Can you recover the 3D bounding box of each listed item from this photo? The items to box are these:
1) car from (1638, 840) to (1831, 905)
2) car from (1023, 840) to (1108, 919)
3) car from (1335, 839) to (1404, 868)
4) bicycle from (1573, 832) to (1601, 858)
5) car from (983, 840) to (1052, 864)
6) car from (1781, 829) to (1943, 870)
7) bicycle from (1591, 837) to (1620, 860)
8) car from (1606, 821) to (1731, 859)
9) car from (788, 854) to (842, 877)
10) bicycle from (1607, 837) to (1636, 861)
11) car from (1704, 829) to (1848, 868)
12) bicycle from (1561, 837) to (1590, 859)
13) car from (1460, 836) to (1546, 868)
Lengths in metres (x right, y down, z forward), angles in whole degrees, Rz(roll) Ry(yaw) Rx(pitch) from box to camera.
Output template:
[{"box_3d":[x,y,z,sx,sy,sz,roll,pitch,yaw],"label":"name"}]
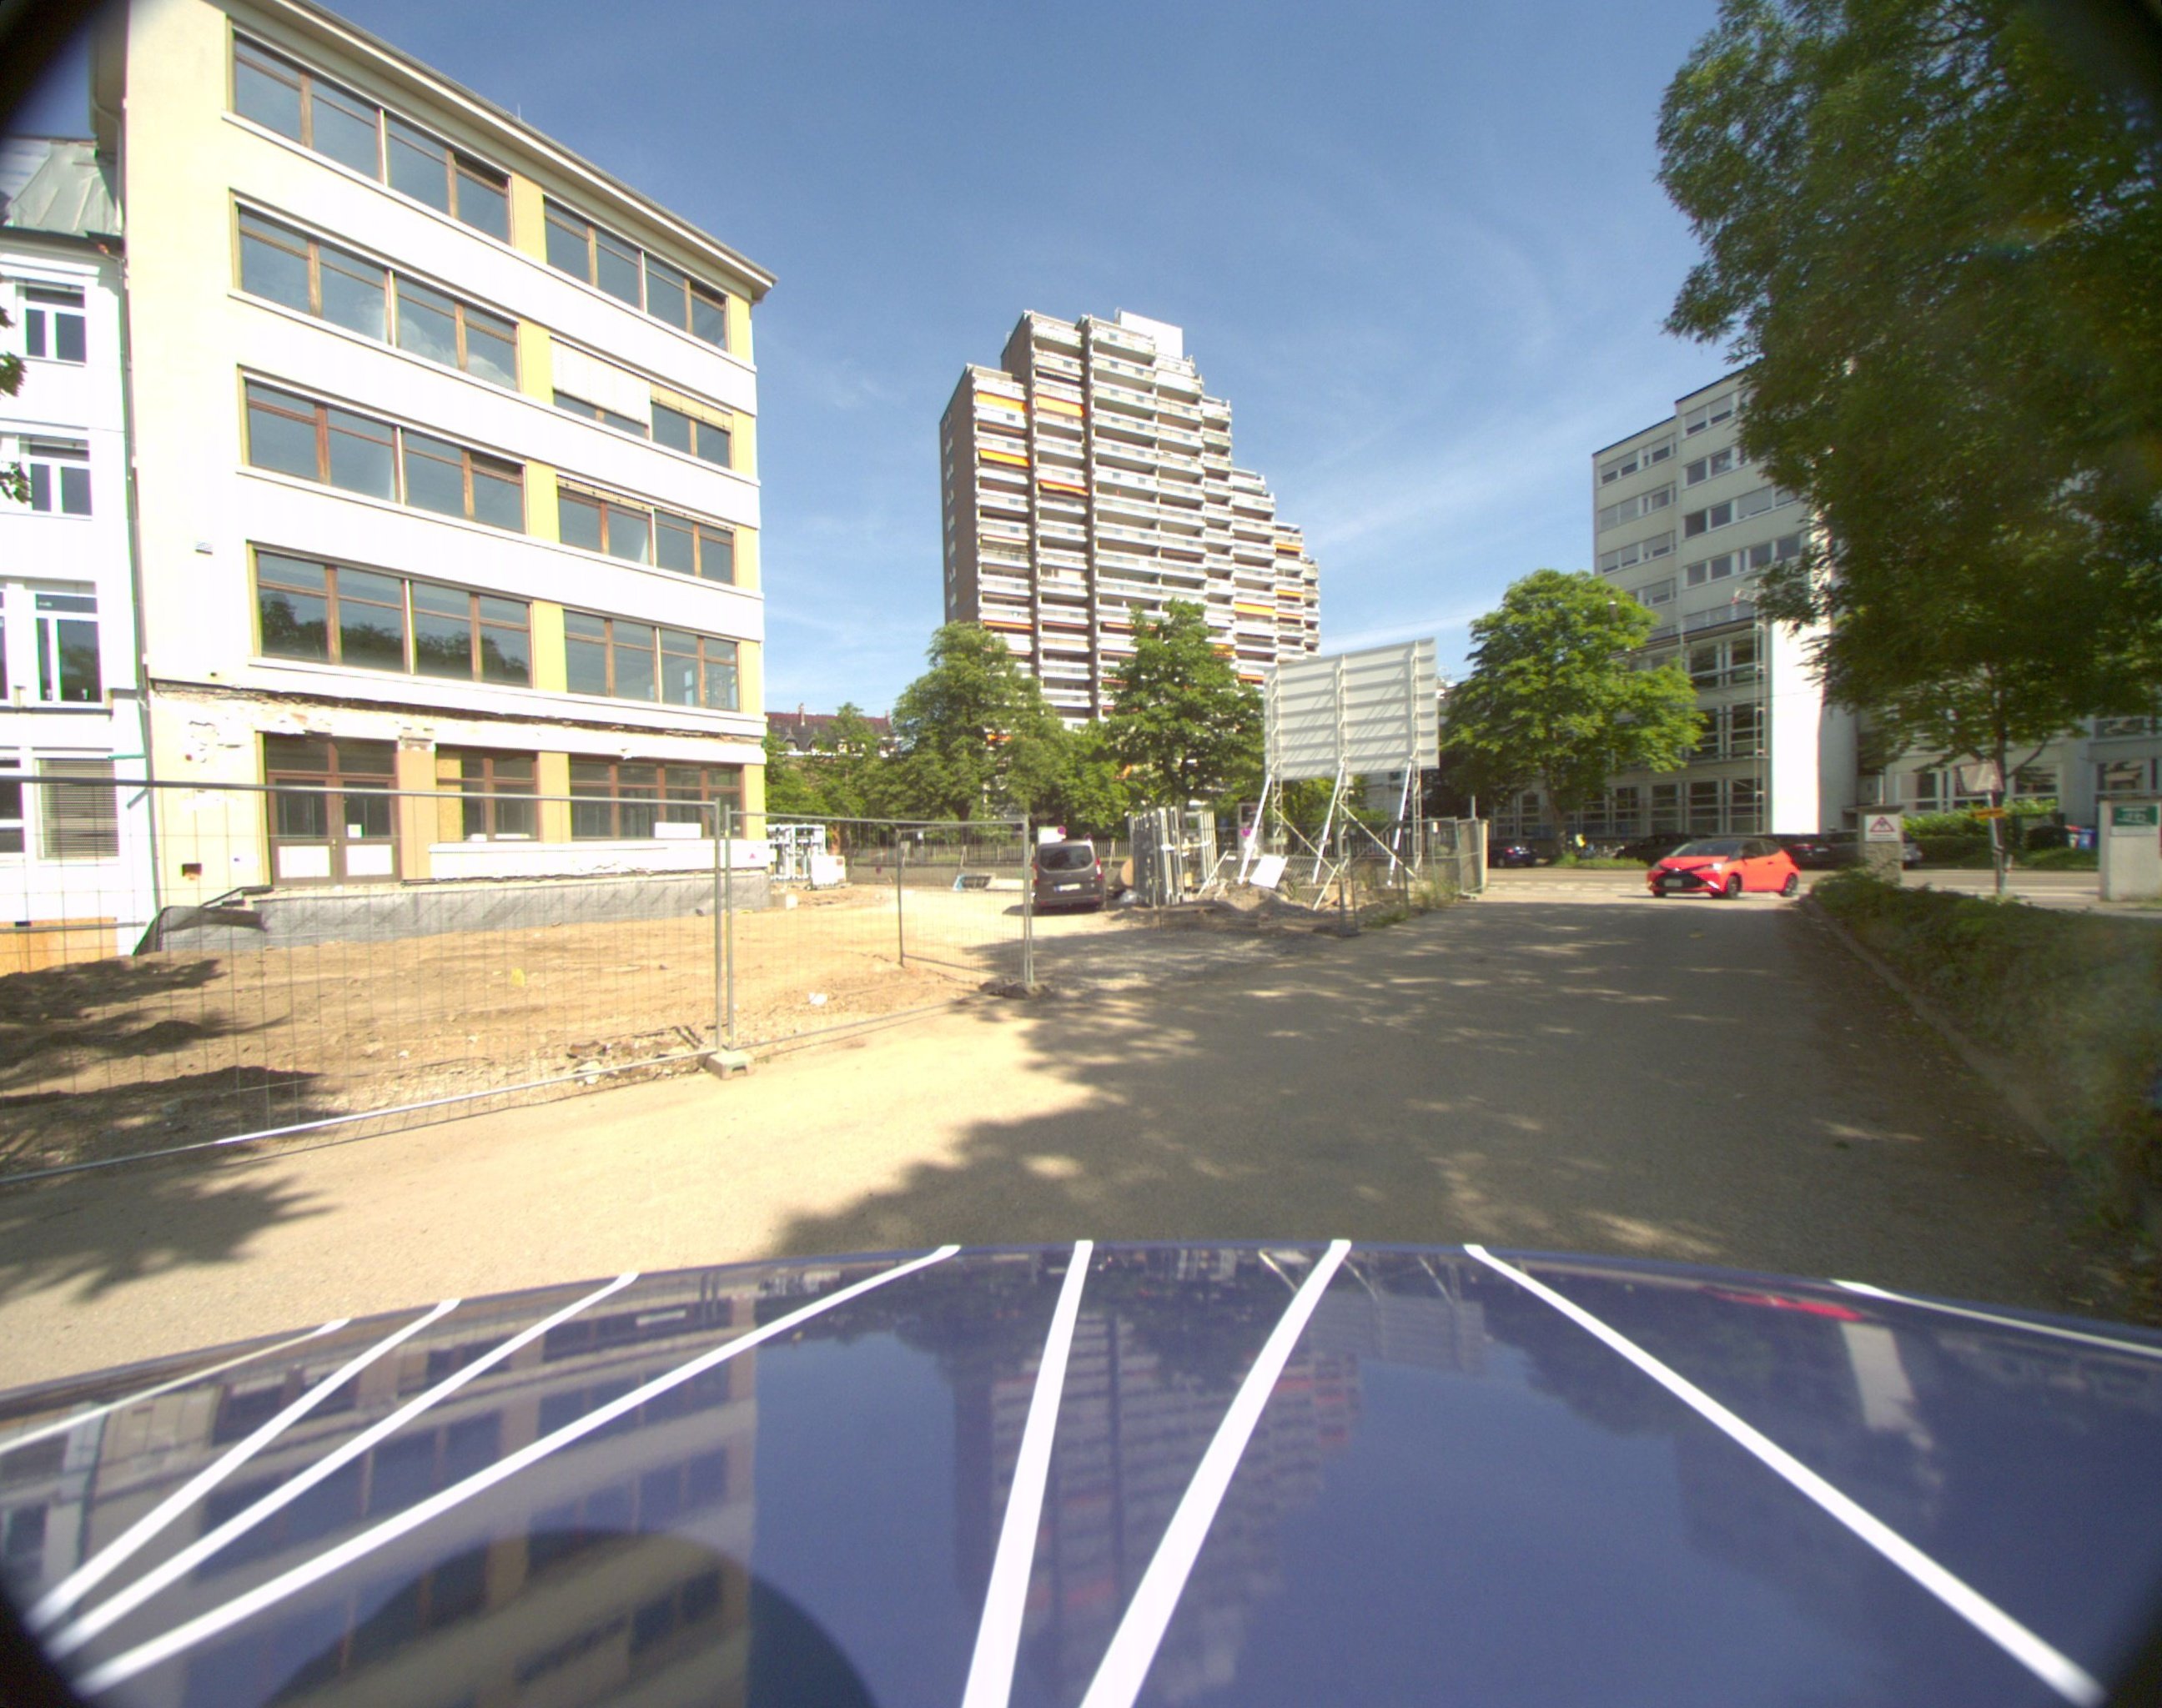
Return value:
[{"box_3d":[15.648,0.405,18.207,4.179,1.404,1.660,-1,0,-20],"label":"car"},{"box_3d":[-0.368,0.570,20.039,1.920,1.770,4.311,-3,1,0],"label":"car"},{"box_3d":[15.764,-0.060,41.732,1.842,1.402,4.143,-3,2,-6],"label":"car"},{"box_3d":[27.754,-0.507,41.670,2.020,1.370,0.488,-2,1,-31],"label":"bicycle"},{"box_3d":[-4.223,-0.101,49.936,4.378,1.513,1.947,-1,0,40],"label":"car"},{"box_3d":[30.927,-0.185,30.313,1.802,1.478,4.337,-1,1,-6],"label":"car"},{"box_3d":[28.151,-0.295,40.758,2.020,1.193,0.488,-2,1,-31],"label":"bicycle"},{"box_3d":[26.001,-0.609,33.842,1.808,1.556,4.387,-2,1,-7],"label":"car"},{"box_3d":[-23.368,1.012,66.570,5.234,1.934,2.000,-1,1,40],"label":"car"},{"box_3d":[28.578,-0.271,40.186,2.020,1.193,0.488,-2,1,-31],"label":"bicycle"},{"box_3d":[28.475,-0.225,31.318,1.801,1.467,4.181,-1,1,-9],"label":"car"},{"box_3d":[27.419,-0.322,42.111,2.020,1.193,0.488,-2,1,-31],"label":"bicycle"},{"box_3d":[20.808,-0.104,37.668,1.654,1.443,3.997,-2,1,-8],"label":"car"}]
